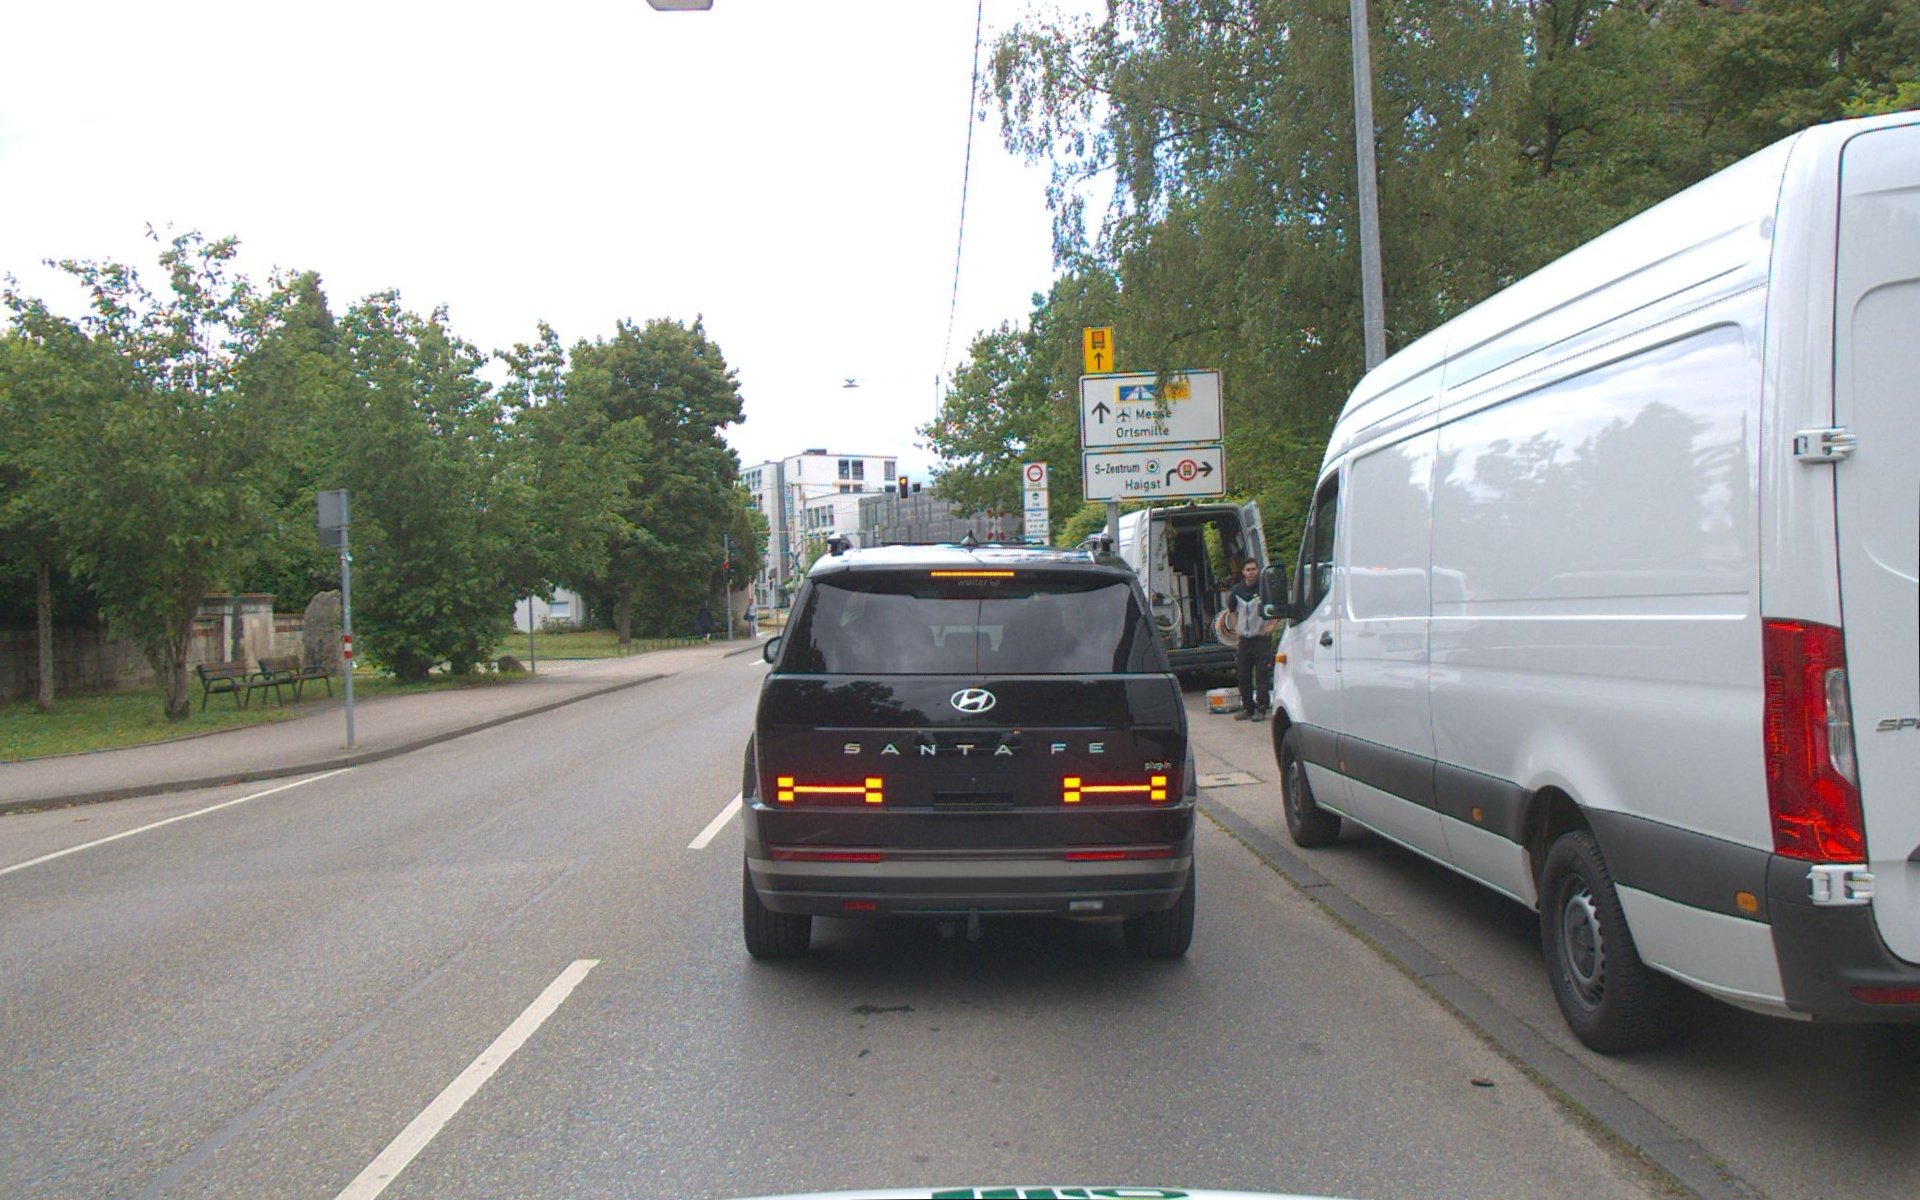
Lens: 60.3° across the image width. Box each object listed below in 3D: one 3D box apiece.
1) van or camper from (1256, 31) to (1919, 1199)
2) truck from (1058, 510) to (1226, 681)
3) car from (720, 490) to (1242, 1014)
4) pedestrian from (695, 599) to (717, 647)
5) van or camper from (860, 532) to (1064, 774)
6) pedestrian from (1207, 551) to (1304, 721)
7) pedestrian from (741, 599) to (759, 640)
[{"bbox_3d":[2.907,0.003,7.073,1.953,2.665,6.540,-2,0,-1],"label":"van or camper"},{"bbox_3d":[3.049,-0.050,28.888,1.904,2.606,5.211,-3,0,-4],"label":"truck"},{"bbox_3d":[0.048,0.531,7.862,1.851,1.851,3.999,0,0,-1],"label":"car"},{"bbox_3d":[-9.451,0.841,61.583,0.724,1.745,0.791,-2,0,-8],"label":"pedestrian"},{"bbox_3d":[-0.014,0.456,16.377,1.719,2.049,3.999,-2,0,-1],"label":"van or camper"},{"bbox_3d":[3.283,0.385,18.345,0.744,1.828,0.870,-2,0,33],"label":"pedestrian"},{"bbox_3d":[-9.302,0.861,73.271,0.724,1.745,0.791,-2,0,-8],"label":"pedestrian"}]
